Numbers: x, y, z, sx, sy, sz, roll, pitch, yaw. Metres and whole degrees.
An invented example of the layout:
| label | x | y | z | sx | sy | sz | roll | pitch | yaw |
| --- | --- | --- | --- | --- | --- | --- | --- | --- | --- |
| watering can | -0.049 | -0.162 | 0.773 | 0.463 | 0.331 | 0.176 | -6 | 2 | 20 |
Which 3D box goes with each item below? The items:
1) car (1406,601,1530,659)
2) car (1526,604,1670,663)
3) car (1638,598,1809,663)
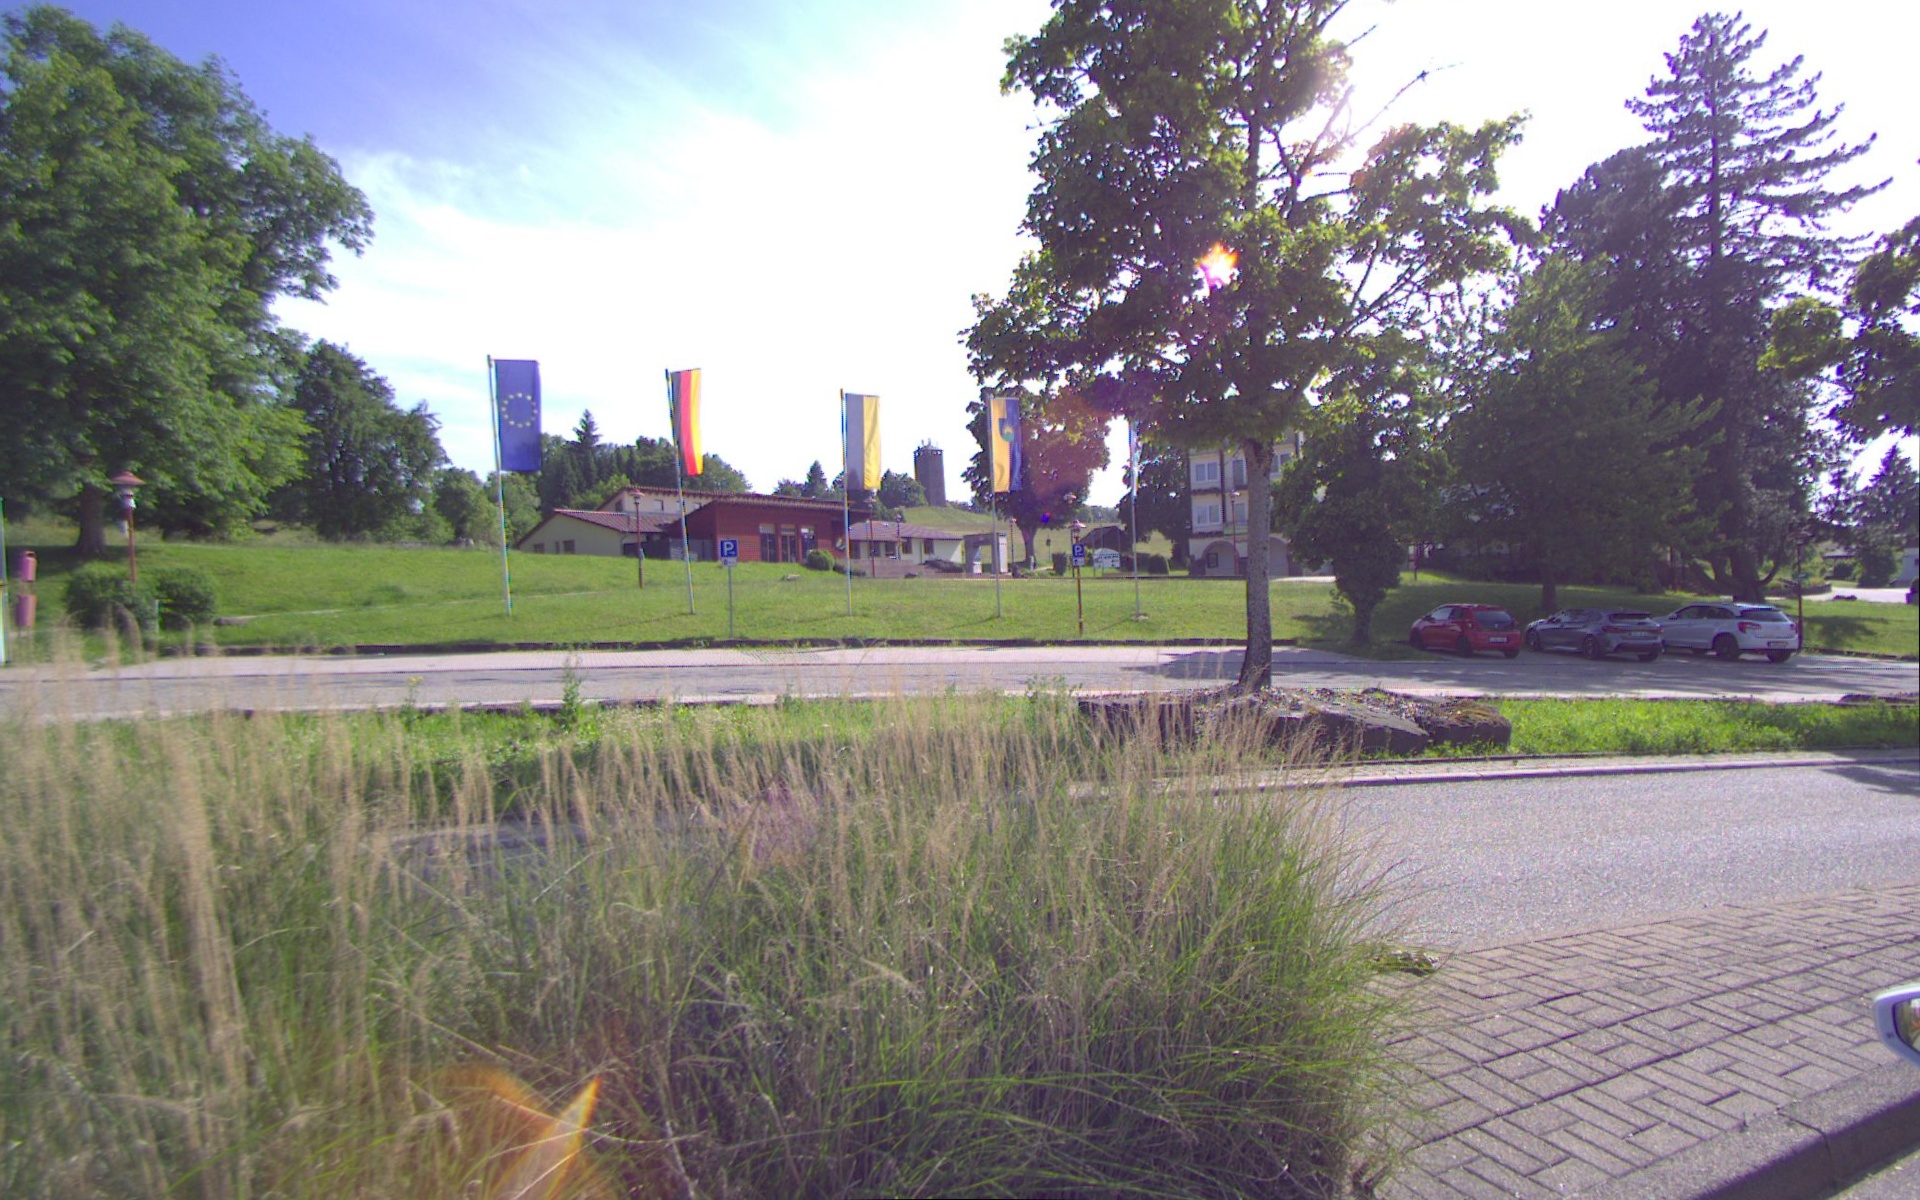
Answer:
| label | x | y | z | sx | sy | sz | roll | pitch | yaw |
| --- | --- | --- | --- | --- | --- | --- | --- | --- | --- |
| car | 14.749 | 0.827 | 29.343 | 1.743 | 1.490 | 3.204 | 1 | 2 | -6 |
| car | 18.201 | 0.906 | 28.876 | 1.741 | 1.453 | 3.713 | 1 | 2 | 0 |
| car | 22.124 | 0.836 | 29.331 | 1.742 | 1.631 | 3.938 | 1 | 2 | -5 |
